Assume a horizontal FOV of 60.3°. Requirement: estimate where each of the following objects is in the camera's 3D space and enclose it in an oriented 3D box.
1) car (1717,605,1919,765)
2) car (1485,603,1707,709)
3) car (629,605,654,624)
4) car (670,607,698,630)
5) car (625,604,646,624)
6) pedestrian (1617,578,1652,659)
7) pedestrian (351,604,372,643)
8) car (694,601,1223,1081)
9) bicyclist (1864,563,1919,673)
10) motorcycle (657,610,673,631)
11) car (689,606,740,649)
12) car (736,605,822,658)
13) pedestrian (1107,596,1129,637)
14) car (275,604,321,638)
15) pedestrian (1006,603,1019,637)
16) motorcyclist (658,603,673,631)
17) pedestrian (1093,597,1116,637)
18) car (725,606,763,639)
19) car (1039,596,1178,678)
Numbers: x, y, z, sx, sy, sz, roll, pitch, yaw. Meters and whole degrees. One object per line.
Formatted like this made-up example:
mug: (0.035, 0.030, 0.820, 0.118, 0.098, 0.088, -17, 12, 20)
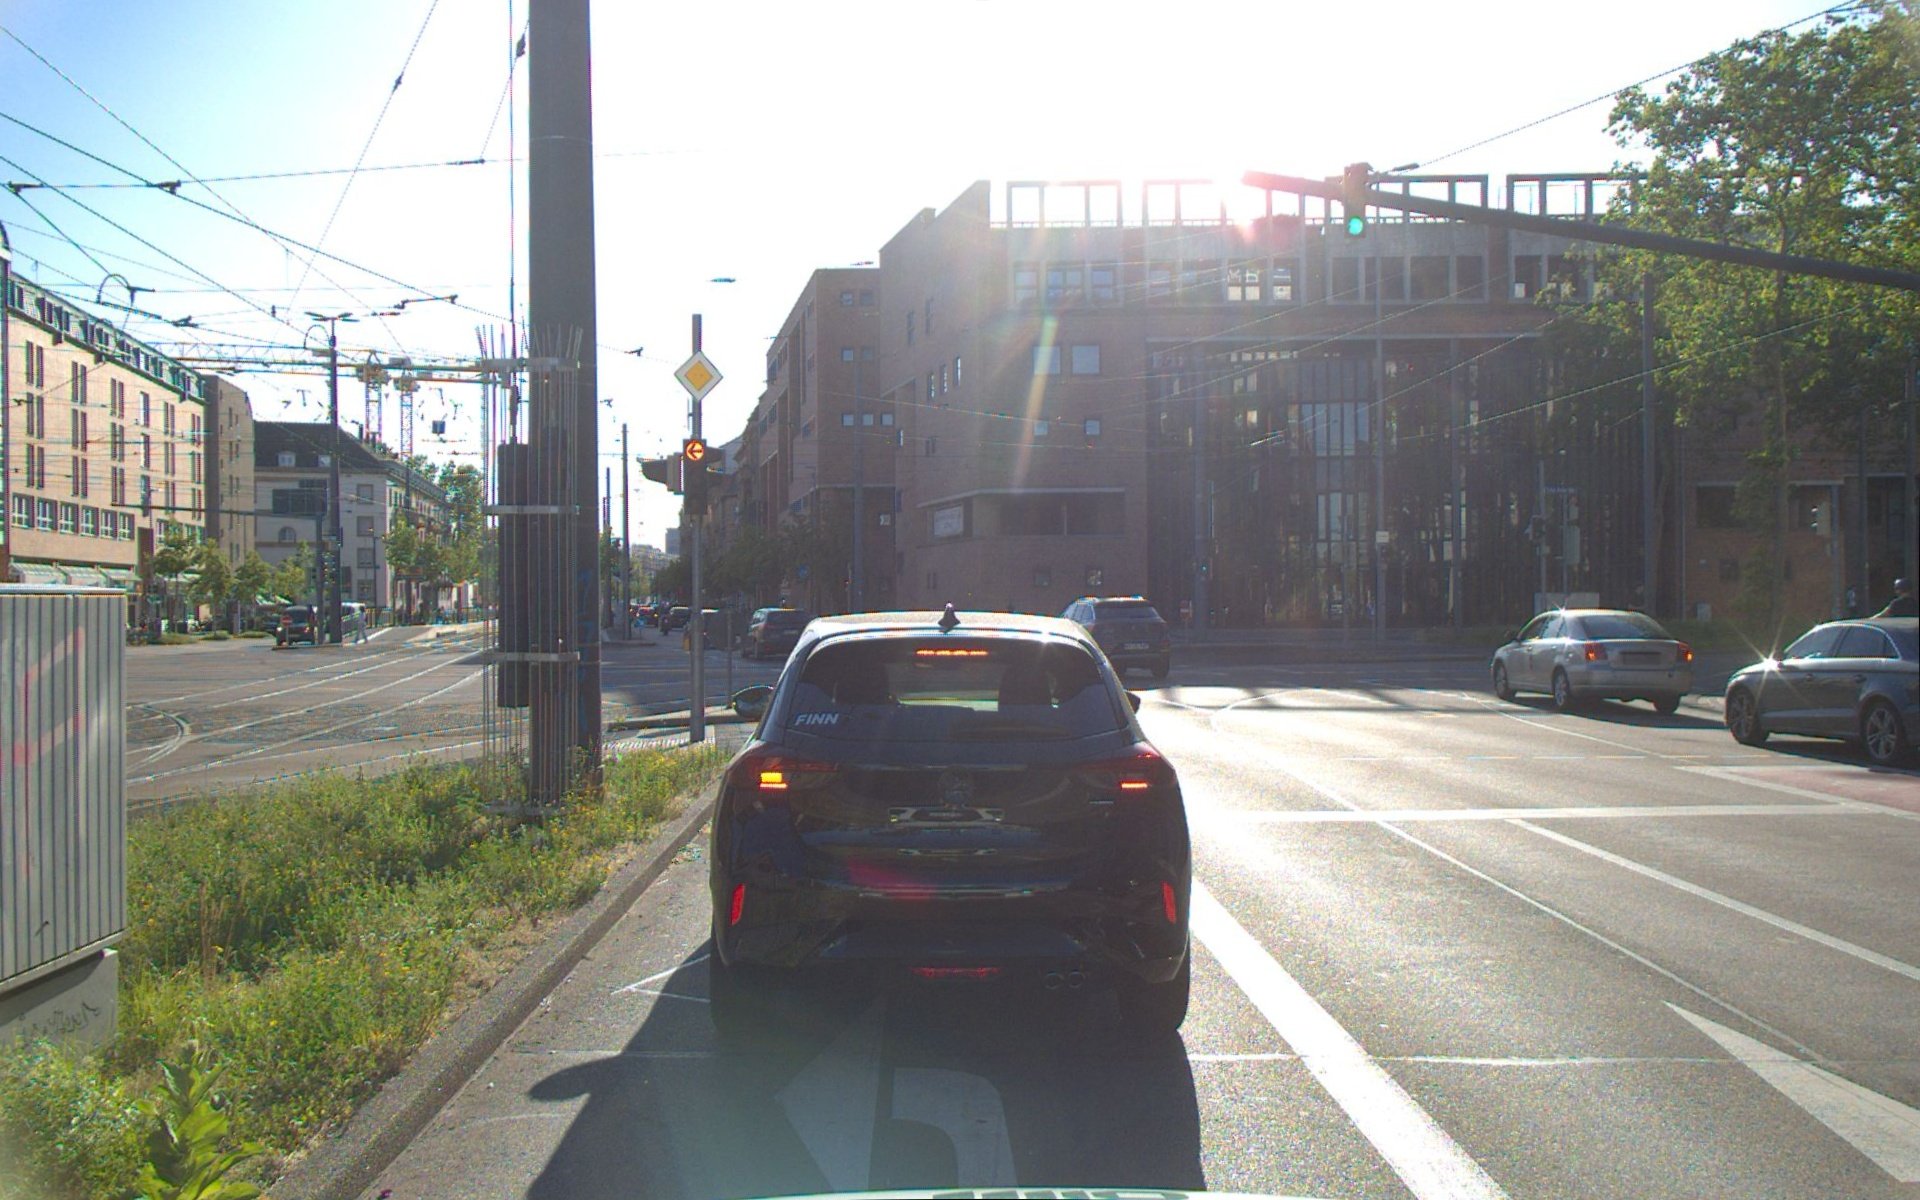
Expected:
car: (9.648, 0.800, 17.038, 1.676, 1.466, 4.109, 1, 0, -3)
car: (9.676, 0.798, 25.565, 1.715, 1.456, 4.489, -1, 0, 0)
car: (-24.049, 1.054, 124.794, 1.707, 1.373, 3.988, 0, 0, -12)
car: (-18.563, 1.220, 111.440, 1.774, 1.483, 3.992, 1, 0, -9)
car: (-27.483, 1.154, 140.131, 1.706, 1.680, 3.988, 0, 0, -12)
pedestrian: (15.176, 0.413, 37.209, 0.692, 1.789, 0.560, -1, 0, 25)
pedestrian: (-25.797, 0.996, 71.297, 0.752, 1.669, 0.742, -1, 0, -13)
car: (0.012, 0.739, 7.079, 1.615, 1.458, 4.000, 0, 0, 0)
bicyclist: (14.001, 0.260, 24.466, 0.612, 1.594, 1.042, -1, 0, -6)
motorcycle: (-16.533, 1.162, 92.799, 0.760, 1.135, 1.966, -1, 0, -6)
car: (-9.377, 1.029, 62.982, 1.778, 1.518, 4.485, -2, 0, -10)
car: (-5.329, 0.874, 48.324, 1.660, 1.458, 4.130, -1, 0, -19)
pedestrian: (6.431, 0.676, 67.291, 0.881, 1.645, 0.561, -1, 0, 8)
car: (-31.199, 0.976, 78.013, 1.717, 1.531, 3.861, -1, 0, -18)
pedestrian: (2.267, 0.850, 71.207, 0.519, 1.455, 0.598, -1, 0, -1)
motorcyclist: (-16.530, 0.962, 92.772, 0.730, 1.557, 1.019, -1, 0, -6)
pedestrian: (5.943, 0.693, 67.966, 0.881, 1.645, 0.561, -1, 0, 8)
car: (-10.436, 1.066, 80.040, 1.773, 1.483, 3.994, 1, 0, -7)
car: (2.922, 0.702, 33.325, 1.714, 1.531, 3.868, -1, 0, -12)
